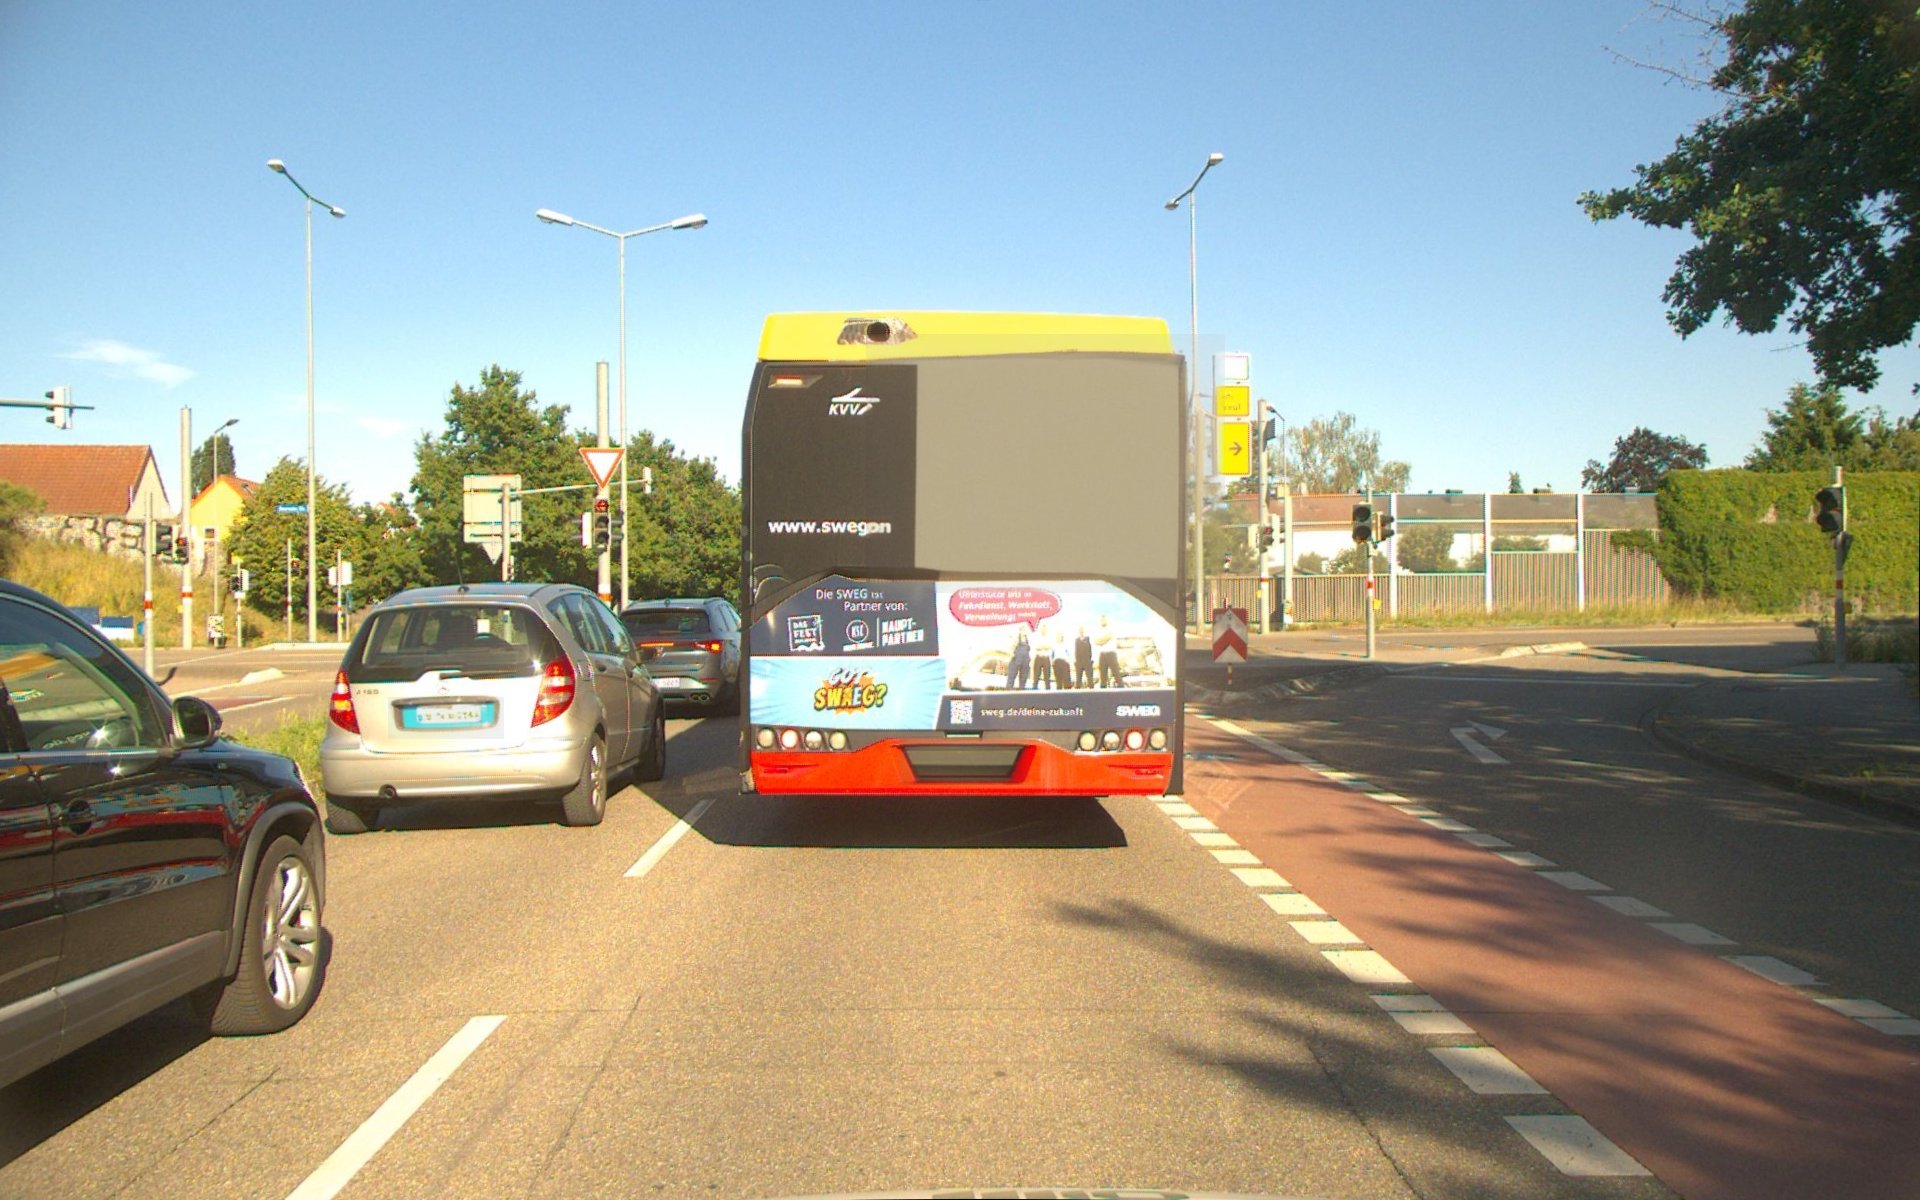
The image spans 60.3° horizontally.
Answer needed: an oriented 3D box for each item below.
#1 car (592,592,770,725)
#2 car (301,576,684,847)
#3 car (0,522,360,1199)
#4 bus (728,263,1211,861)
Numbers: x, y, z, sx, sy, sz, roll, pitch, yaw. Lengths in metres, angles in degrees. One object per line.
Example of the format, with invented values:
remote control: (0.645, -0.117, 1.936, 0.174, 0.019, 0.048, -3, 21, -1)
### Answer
car: (-3.453, 0.672, 21.064, 1.658, 1.484, 3.750, -2, 0, -1)
car: (-3.222, 0.678, 12.227, 1.725, 1.617, 3.999, -2, 0, -1)
car: (-3.147, 0.684, 4.309, 1.736, 1.682, 3.999, -2, 0, -1)
bus: (0.018, -0.257, 14.899, 2.589, 3.222, 11.860, 0, 0, 0)
